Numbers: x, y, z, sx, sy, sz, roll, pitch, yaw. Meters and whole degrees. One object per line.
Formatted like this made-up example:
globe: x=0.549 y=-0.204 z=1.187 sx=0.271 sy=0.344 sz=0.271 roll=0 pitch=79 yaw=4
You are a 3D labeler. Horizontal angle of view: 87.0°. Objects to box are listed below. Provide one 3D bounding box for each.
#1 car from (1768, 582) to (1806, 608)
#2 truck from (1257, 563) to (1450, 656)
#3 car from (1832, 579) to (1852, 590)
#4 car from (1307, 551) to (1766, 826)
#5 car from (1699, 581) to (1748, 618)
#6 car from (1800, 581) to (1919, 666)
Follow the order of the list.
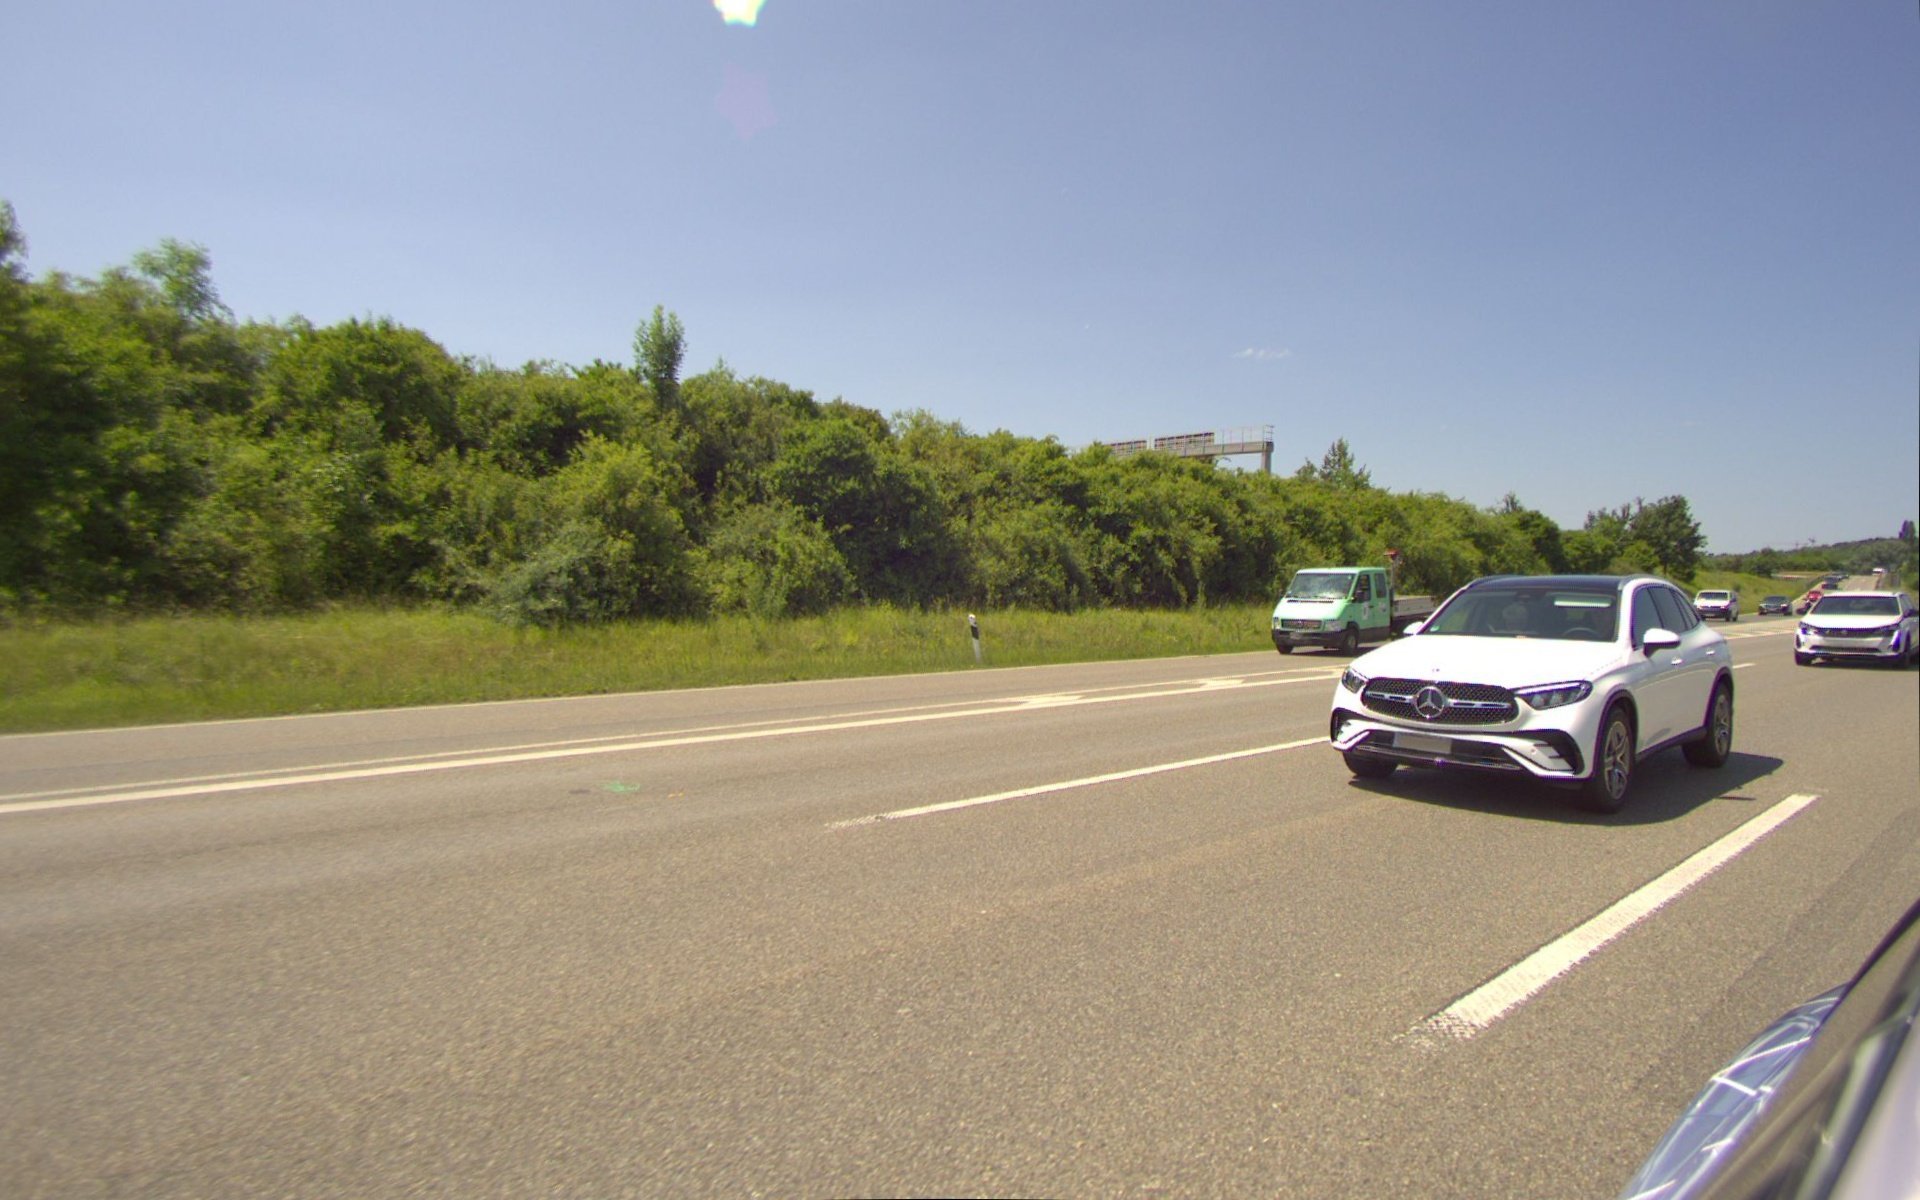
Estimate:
car: x=68.622 y=-0.401 z=84.005 sx=3.935 sy=2.039 sz=1.995 roll=-2 pitch=1 yaw=-44
truck: x=10.214 y=0.163 z=25.965 sx=6.015 sy=2.118 sz=2.167 roll=0 pitch=1 yaw=-43
car: x=142.920 y=-2.558 z=164.022 sx=4.539 sy=1.650 sz=1.980 roll=-2 pitch=1 yaw=-43
car: x=4.953 y=0.520 z=8.389 sx=4.555 sy=1.677 sz=1.908 roll=0 pitch=0 yaw=-41
car: x=47.368 y=-0.070 z=62.743 sx=1.992 sy=2.199 sz=4.819 roll=1 pitch=1 yaw=42
car: x=20.120 y=0.436 z=22.241 sx=4.538 sy=1.650 sz=1.896 roll=-1 pitch=1 yaw=-41
